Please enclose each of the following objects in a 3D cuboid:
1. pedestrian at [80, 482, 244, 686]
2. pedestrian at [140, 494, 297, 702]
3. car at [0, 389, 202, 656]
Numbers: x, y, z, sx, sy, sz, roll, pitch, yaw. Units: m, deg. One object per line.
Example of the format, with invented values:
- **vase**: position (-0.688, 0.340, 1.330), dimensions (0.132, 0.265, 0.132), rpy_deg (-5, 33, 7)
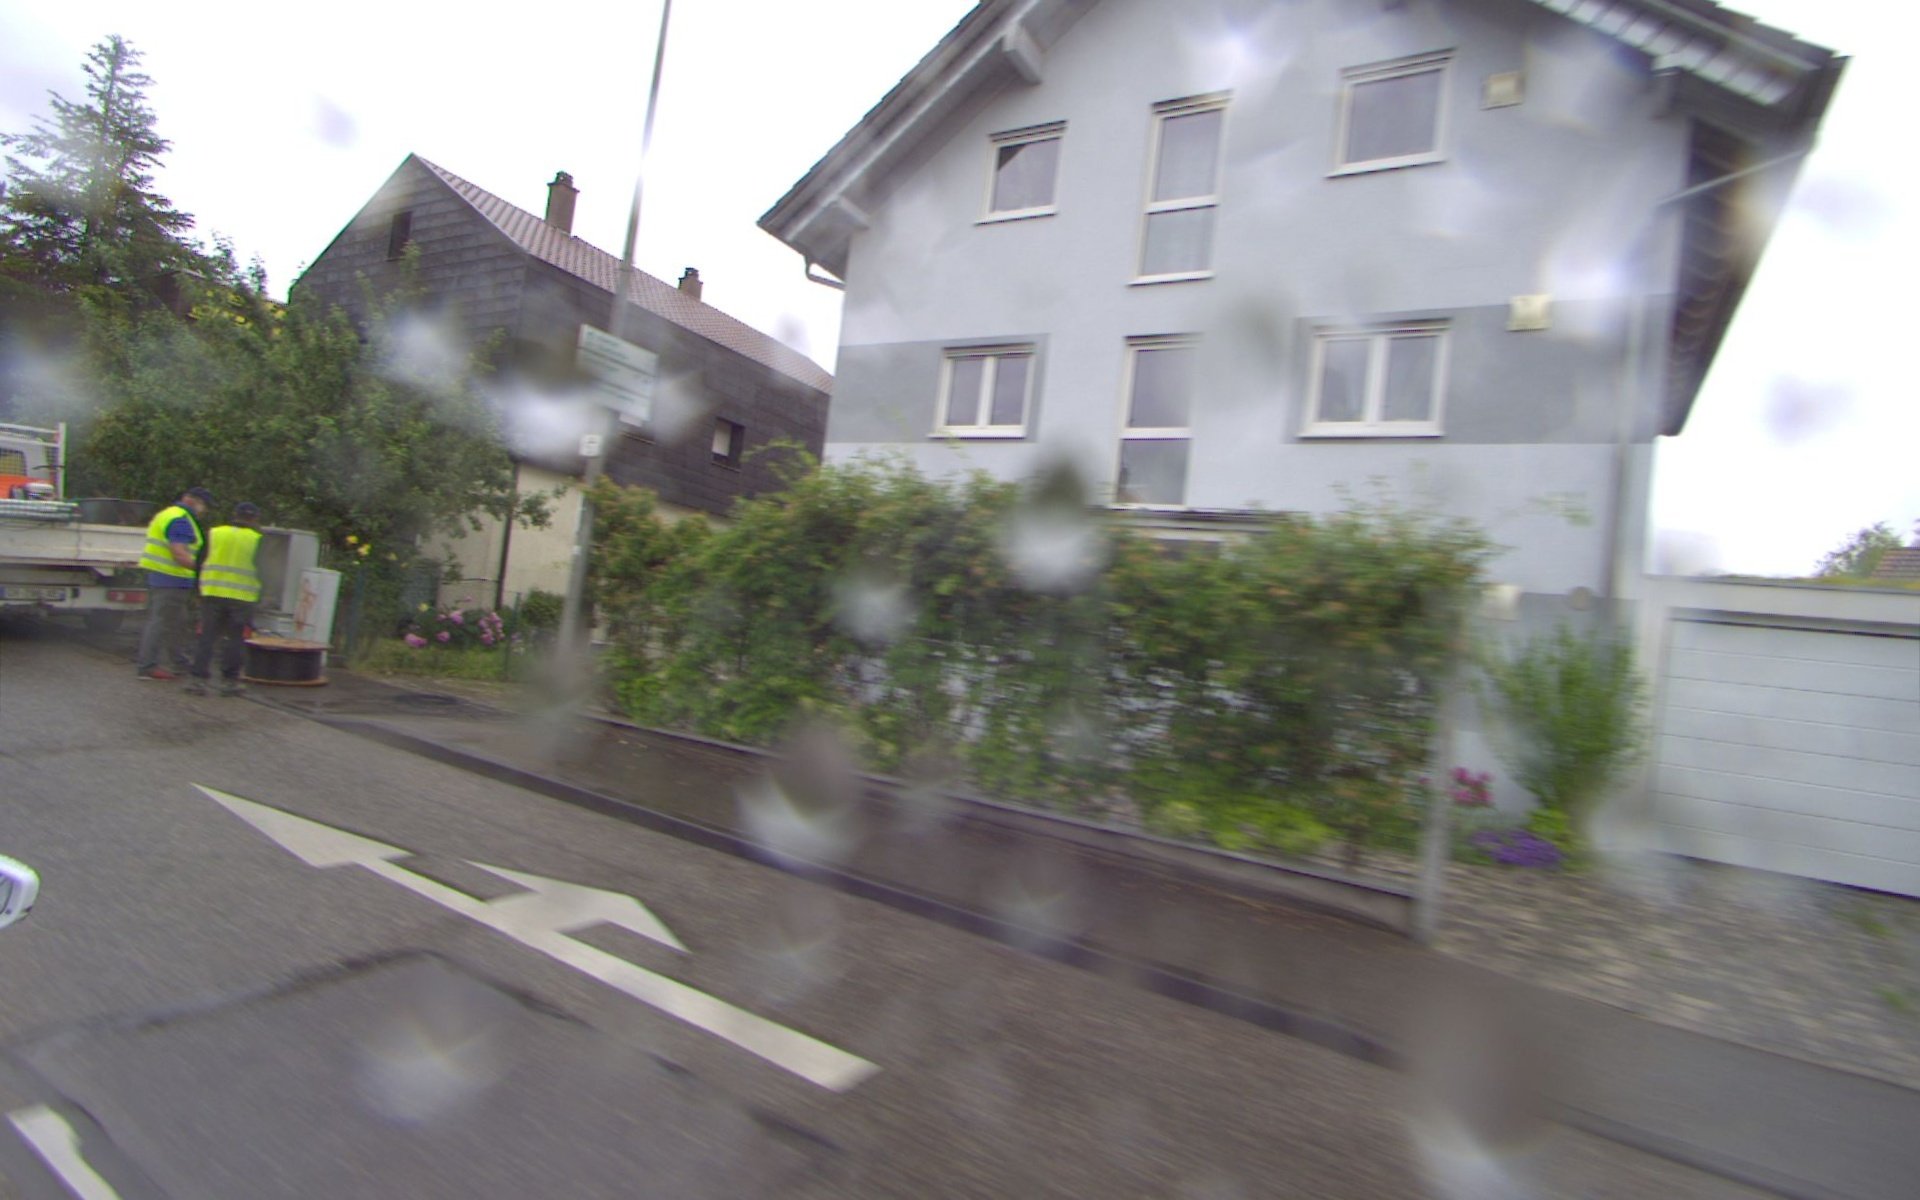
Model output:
- **pedestrian**: position (-7.341, -0.142, 9.269), dimensions (0.875, 1.729, 0.711), rpy_deg (7, 1, 21)
- **pedestrian**: position (-6.524, -0.019, 8.861), dimensions (0.926, 1.685, 0.577), rpy_deg (7, 1, 21)
- **car**: position (-11.594, -1.032, 11.472), dimensions (6.326, 2.461, 2.395), rpy_deg (7, -1, 32)
